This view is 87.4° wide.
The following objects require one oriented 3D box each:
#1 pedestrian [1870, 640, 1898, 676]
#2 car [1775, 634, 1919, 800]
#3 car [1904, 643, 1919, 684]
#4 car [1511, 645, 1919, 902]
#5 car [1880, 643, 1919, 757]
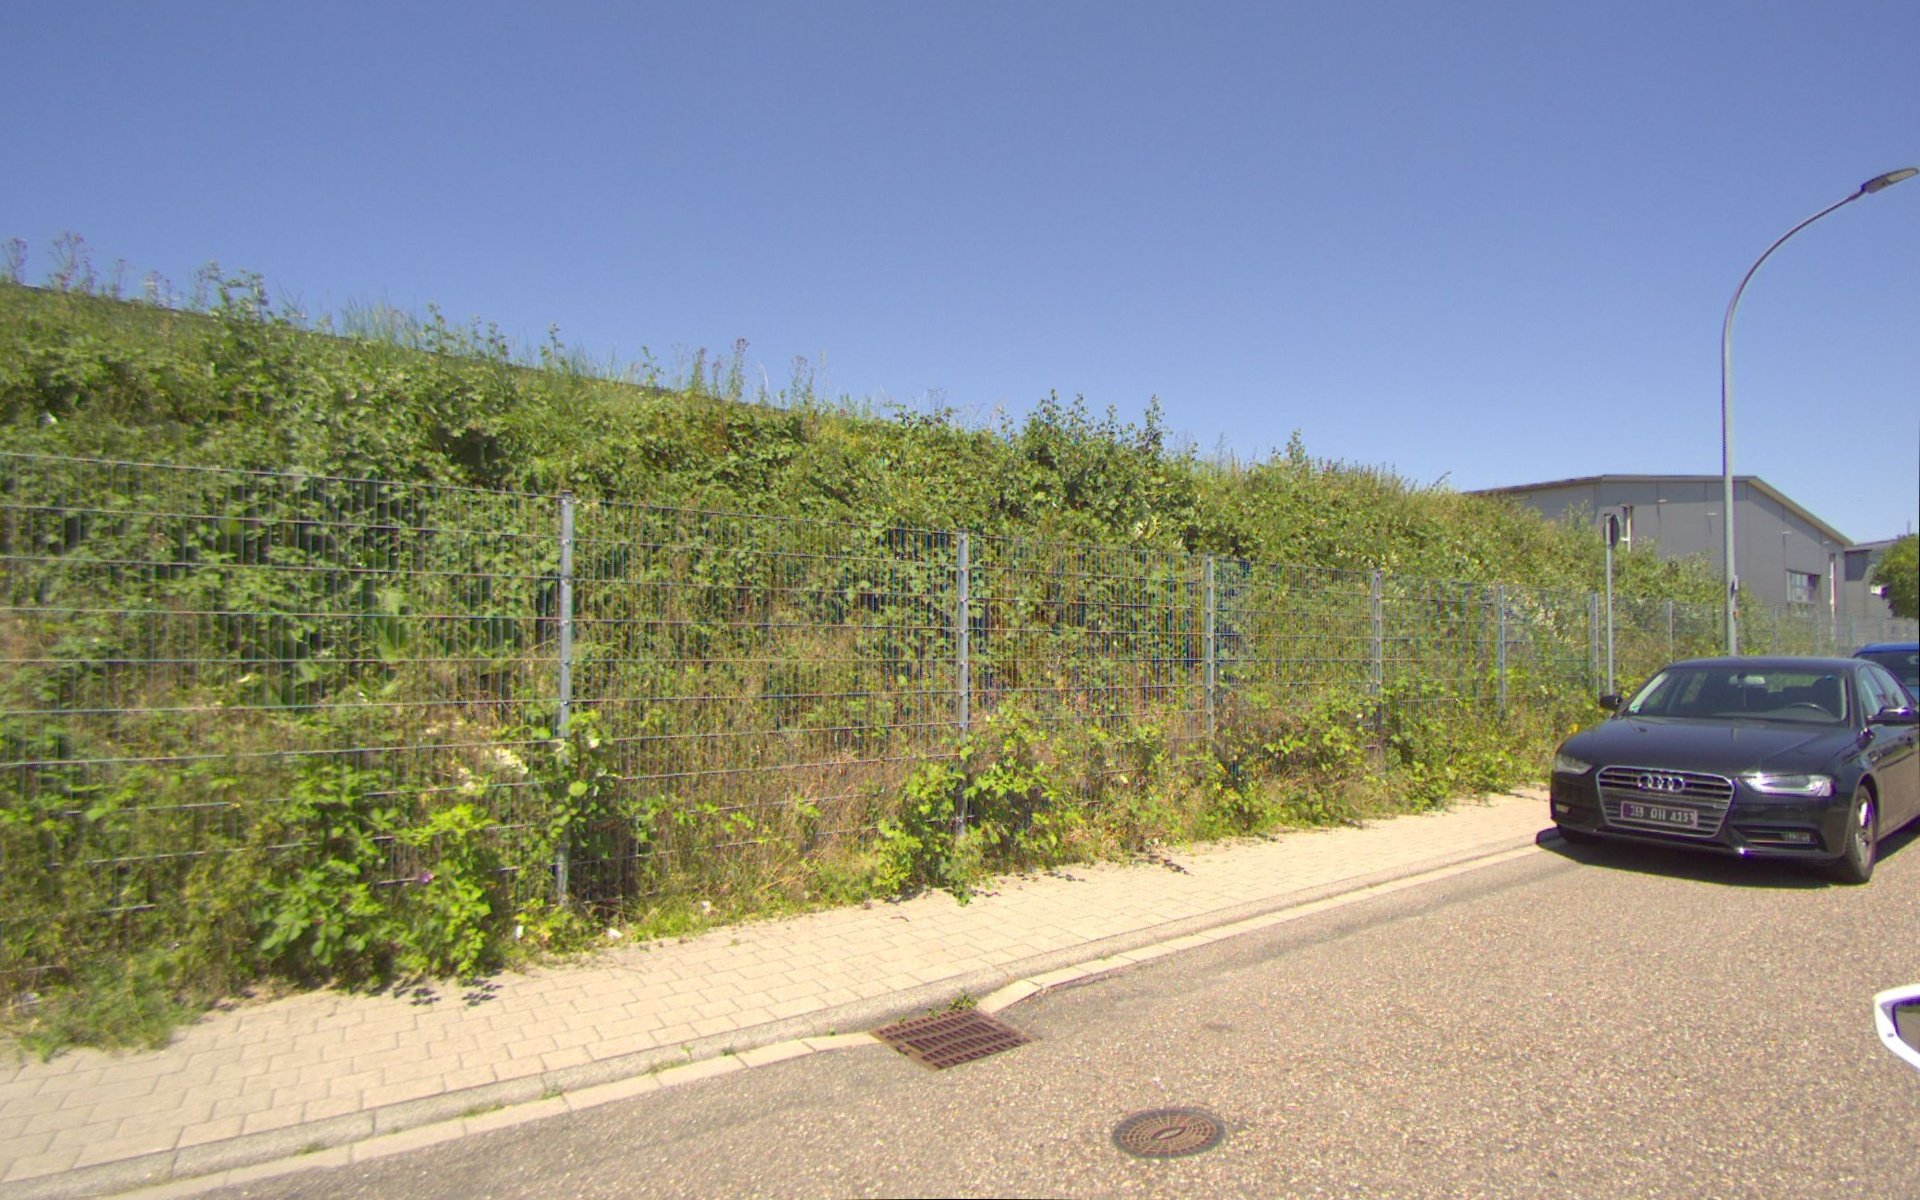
[{"bbox_3d":[46.261,2.905,50.296,0.956,1.736,0.834,2,-1,-37],"label":"pedestrian"},{"bbox_3d":[10.784,1.206,11.124,4.348,1.591,1.811,3,-3,-38],"label":"car"},{"bbox_3d":[37.014,2.404,37.930,3.677,1.520,1.668,2,-2,-42],"label":"car"},{"bbox_3d":[6.336,1.123,7.972,4.540,1.474,1.811,3,-3,-38],"label":"car"},{"bbox_3d":[14.919,1.395,14.347,4.478,1.519,1.812,3,-3,-37],"label":"car"}]
